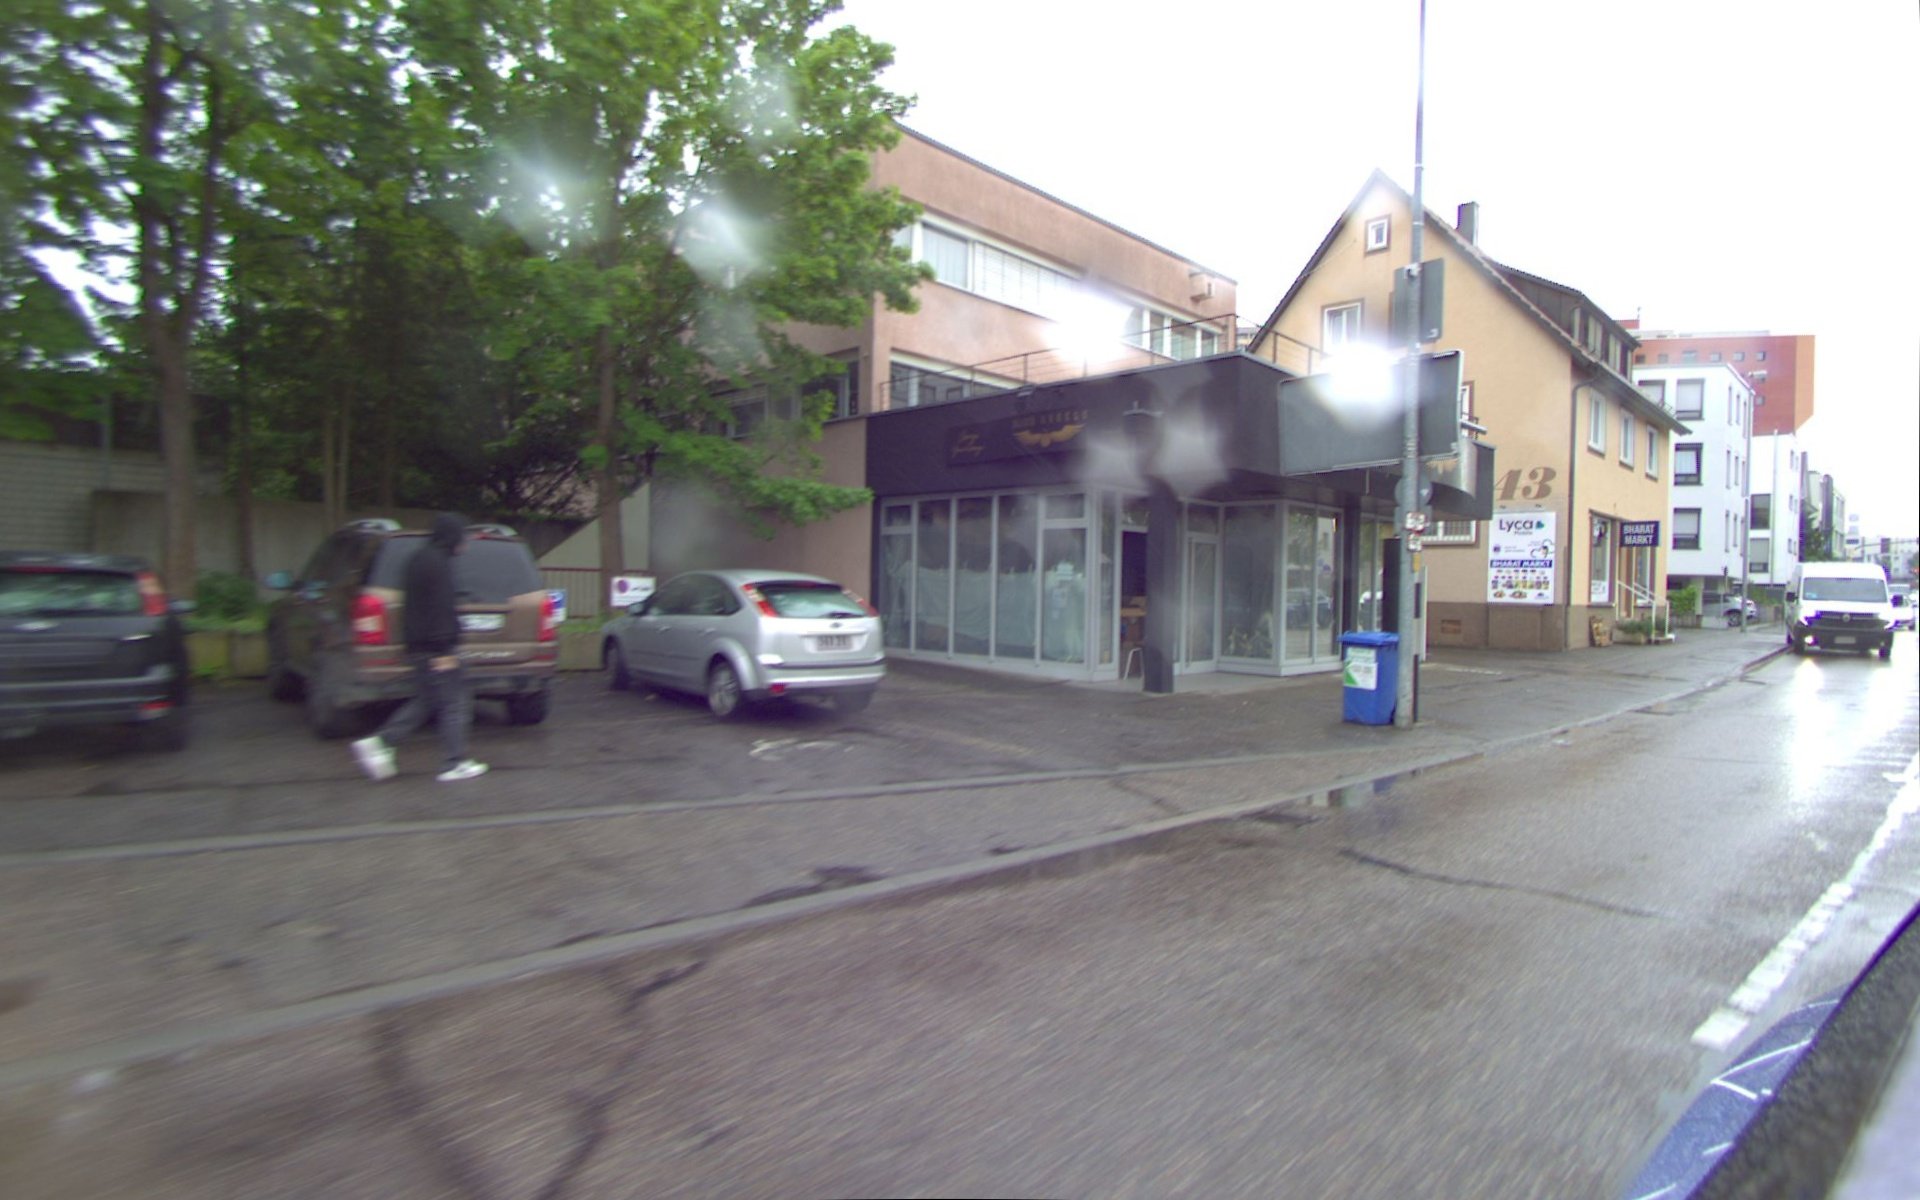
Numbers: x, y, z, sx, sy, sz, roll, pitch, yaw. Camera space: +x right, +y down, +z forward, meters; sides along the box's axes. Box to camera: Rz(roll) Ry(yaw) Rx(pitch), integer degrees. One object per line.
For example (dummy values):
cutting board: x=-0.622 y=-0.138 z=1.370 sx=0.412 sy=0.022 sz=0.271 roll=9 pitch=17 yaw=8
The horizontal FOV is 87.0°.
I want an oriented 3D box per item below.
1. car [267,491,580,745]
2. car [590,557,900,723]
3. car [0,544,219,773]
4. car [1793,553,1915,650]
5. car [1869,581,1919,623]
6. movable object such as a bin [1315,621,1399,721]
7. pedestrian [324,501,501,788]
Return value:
car: x=-5.294 y=0.052 z=9.699 sx=1.843 sy=1.894 sz=4.104 roll=1 pitch=2 yaw=-40
car: x=-2.551 y=0.304 z=11.306 sx=1.715 sy=1.465 sz=3.996 roll=1 pitch=2 yaw=-40
car: x=-7.385 y=0.293 z=8.235 sx=1.772 sy=1.472 sz=4.154 roll=0 pitch=3 yaw=-42
car: x=25.348 y=-0.097 z=28.593 sx=2.291 sy=2.411 sz=6.522 roll=3 pitch=4 yaw=44
car: x=42.613 y=0.045 z=45.910 sx=2.010 sy=1.641 sz=4.297 roll=1 pitch=4 yaw=42
movable object such as a bin: x=4.641 y=0.812 z=11.842 sx=0.686 sy=1.088 sz=0.637 roll=3 pitch=0 yaw=-42
pedestrian: x=-3.745 y=0.261 z=6.974 sx=0.701 sy=1.843 sz=0.792 roll=1 pitch=2 yaw=19
